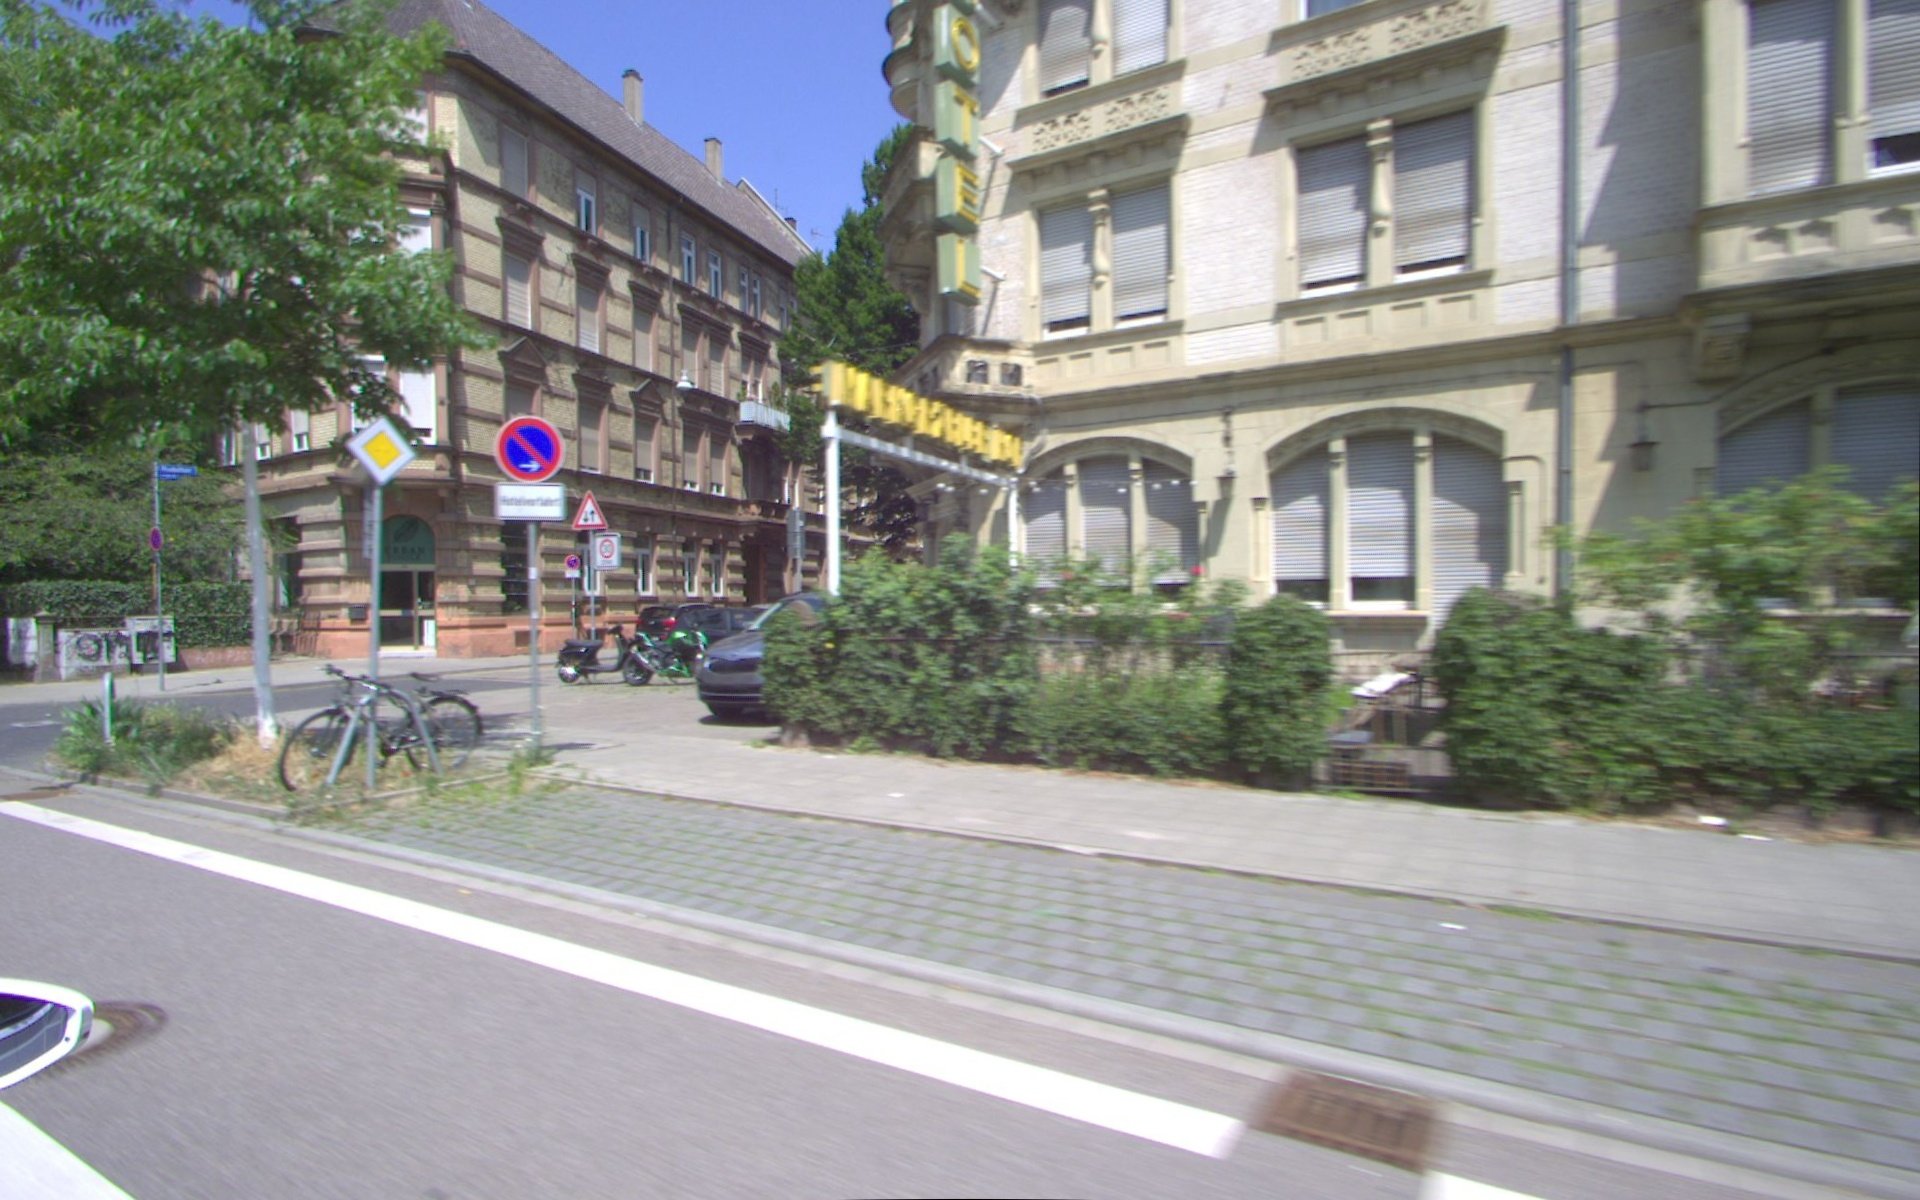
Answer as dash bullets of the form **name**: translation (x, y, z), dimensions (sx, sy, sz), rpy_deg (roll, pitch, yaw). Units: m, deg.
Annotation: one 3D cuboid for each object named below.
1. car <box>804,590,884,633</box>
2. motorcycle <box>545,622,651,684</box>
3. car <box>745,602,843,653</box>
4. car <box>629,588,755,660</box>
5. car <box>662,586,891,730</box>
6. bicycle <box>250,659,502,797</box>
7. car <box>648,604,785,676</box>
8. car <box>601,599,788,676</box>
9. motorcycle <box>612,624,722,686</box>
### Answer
- **car**: translation (-4.842, 0.492, 42.359), dimensions (1.775, 1.750, 3.992), rpy_deg (0, -1, 20)
- **motorcycle**: translation (-6.862, 0.997, 18.995), dimensions (1.849, 1.138, 0.510), rpy_deg (0, 0, 5)
- **car**: translation (-5.965, 0.966, 36.444), dimensions (1.775, 1.750, 3.992), rpy_deg (0, -1, 20)
- **car**: translation (-8.103, 0.715, 30.681), dimensions (1.775, 2.040, 3.992), rpy_deg (0, -1, 20)
- **car**: translation (-2.338, 0.684, 13.491), dimensions (1.551, 1.691, 3.126), rpy_deg (0, 0, 24)
- **bicycle**: translation (-4.932, 1.039, 8.594), dimensions (0.496, 0.966, 1.838), rpy_deg (0, 0, 33)
- **car**: translation (-5.689, 0.896, 23.891), dimensions (1.705, 1.579, 3.831), rpy_deg (0, -1, 12)
- **car**: translation (-5.510, 0.768, 20.975), dimensions (3.446, 1.529, 1.576), rpy_deg (0, 0, 11)
- **motorcycle**: translation (-5.296, 0.993, 18.129), dimensions (1.840, 1.096, 0.524), rpy_deg (0, 0, 7)
